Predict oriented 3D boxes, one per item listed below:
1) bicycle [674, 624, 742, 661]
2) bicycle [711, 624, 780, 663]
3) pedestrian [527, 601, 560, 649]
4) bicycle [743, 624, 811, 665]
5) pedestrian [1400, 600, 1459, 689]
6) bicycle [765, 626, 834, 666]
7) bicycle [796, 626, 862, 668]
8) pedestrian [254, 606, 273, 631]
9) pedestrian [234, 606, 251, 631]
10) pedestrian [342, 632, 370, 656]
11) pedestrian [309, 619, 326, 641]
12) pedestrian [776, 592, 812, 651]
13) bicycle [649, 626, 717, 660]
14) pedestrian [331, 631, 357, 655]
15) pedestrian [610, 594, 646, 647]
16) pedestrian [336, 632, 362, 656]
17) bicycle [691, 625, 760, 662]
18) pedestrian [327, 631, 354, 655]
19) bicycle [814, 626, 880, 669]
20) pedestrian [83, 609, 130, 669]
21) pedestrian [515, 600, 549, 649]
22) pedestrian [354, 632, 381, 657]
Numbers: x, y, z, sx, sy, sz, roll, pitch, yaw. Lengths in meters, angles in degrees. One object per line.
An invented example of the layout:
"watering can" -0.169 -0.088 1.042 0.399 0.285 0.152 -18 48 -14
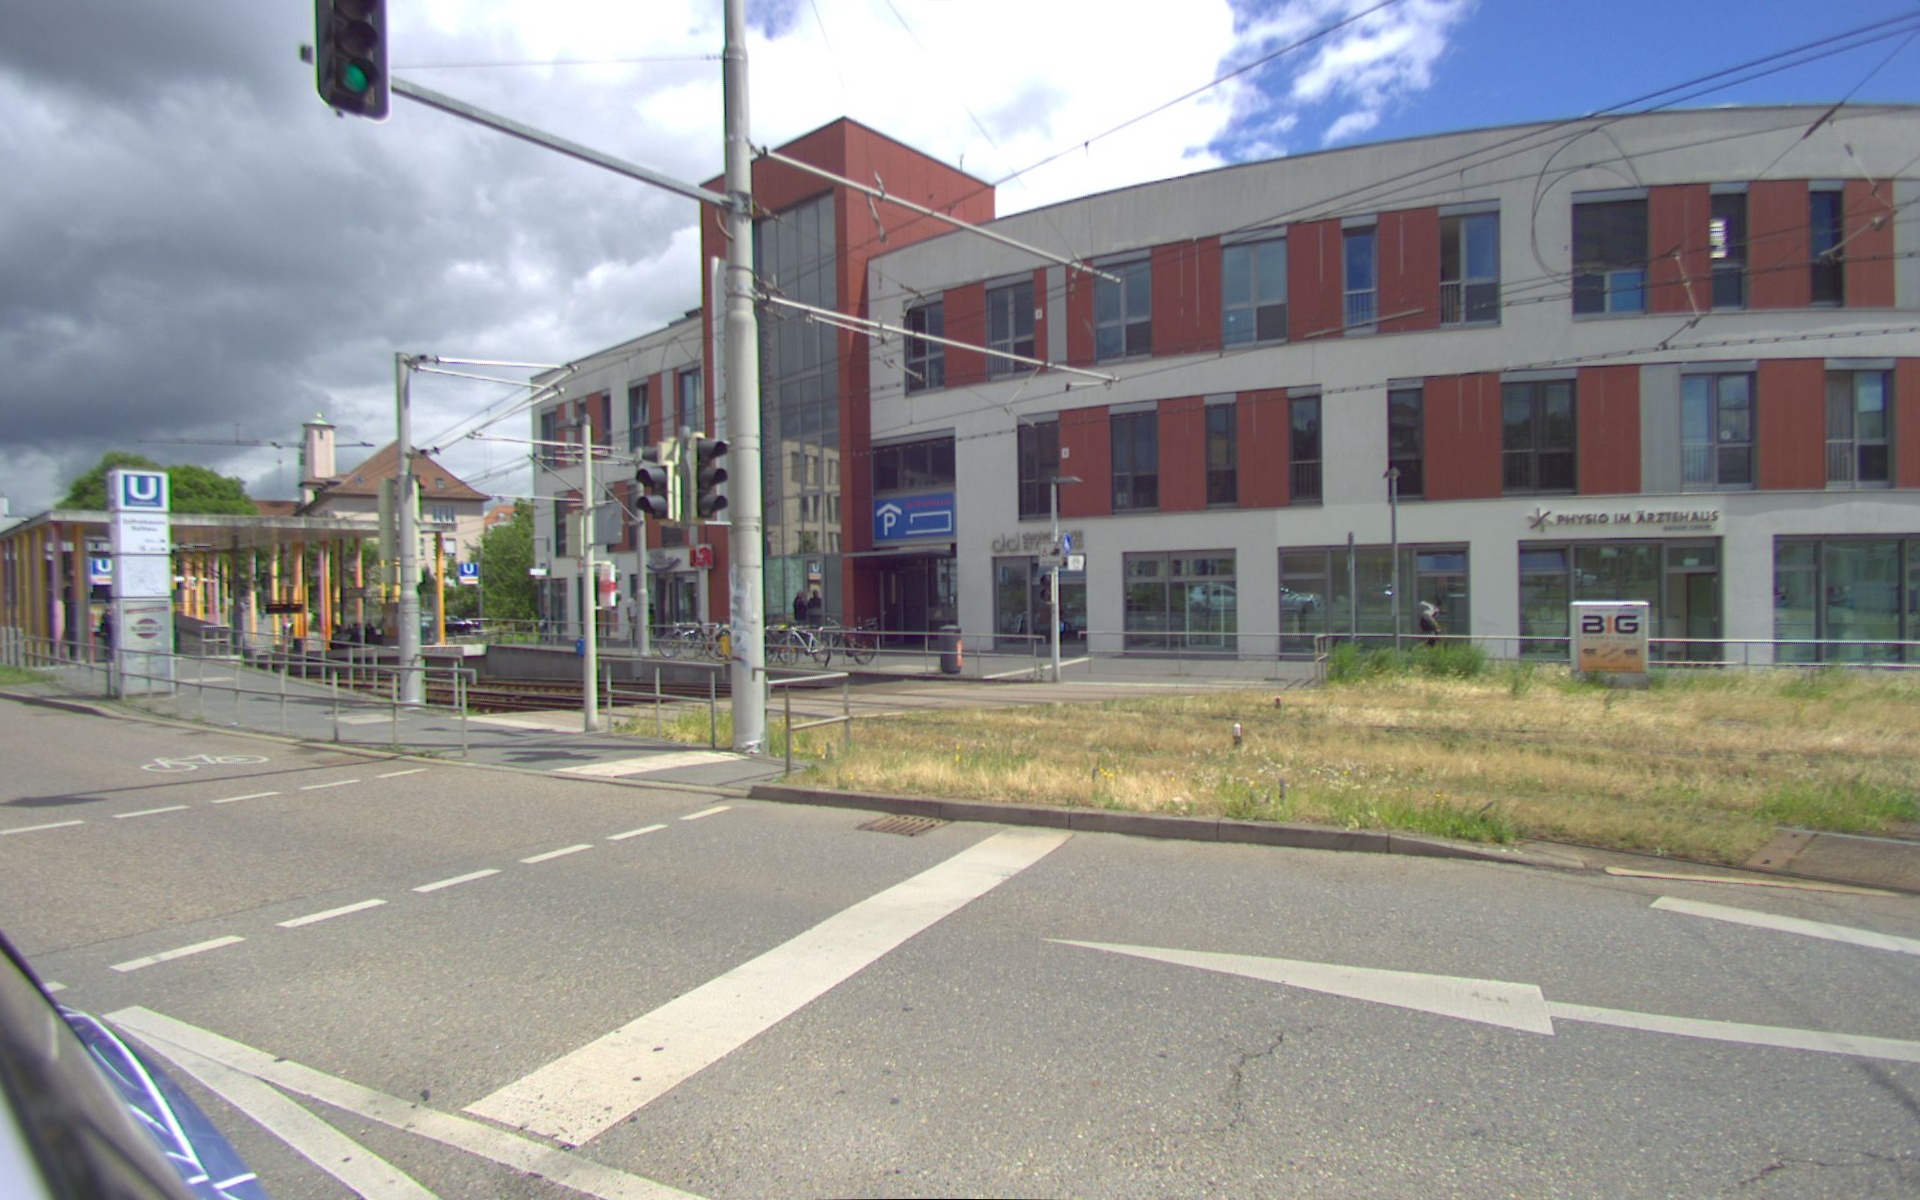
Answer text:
"bicycle" -6.988 1.165 28.138 1.835 0.939 0.455 0 0 -41
"bicycle" -5.703 1.149 26.980 1.836 0.946 0.455 0 0 -45
"pedestrian" -17.385 1.037 42.225 1.105 1.983 0.853 0 -1 39
"bicycle" -4.744 1.138 26.332 0.454 0.970 1.837 -1 0 43
"pedestrian" 10.760 1.005 23.224 1.106 1.983 0.860 0 -1 17
"bicycle" -4.061 1.148 25.696 0.454 0.942 1.837 -1 0 43
"bicycle" -3.230 1.148 25.070 0.428 0.965 1.716 -1 0 43
"pedestrian" -56.902 1.515 82.709 1.112 2.029 1.180 0 -1 -44
"pedestrian" -60.020 1.573 84.642 1.110 2.029 1.461 0 -1 -36
"pedestrian" -29.406 2.148 49.260 0.886 1.143 0.931 -2 -1 42
"pedestrian" -44.439 2.059 69.984 0.901 1.461 0.736 -2 -1 37
"pedestrian" -5.318 0.676 32.477 0.856 1.859 0.876 0 1 13
"bicycle" -7.881 1.202 28.826 1.834 0.888 0.455 0 0 -41
"pedestrian" -30.813 2.155 50.613 0.886 1.143 0.931 -2 -1 42
"pedestrian" -12.726 0.785 38.786 1.106 1.983 0.852 0 -1 43
"pedestrian" -30.123 2.151 49.895 0.886 1.143 0.931 -2 -1 42
"bicycle" -6.375 1.162 27.579 1.835 0.929 0.455 0 0 -42
"pedestrian" -31.329 2.161 51.186 0.886 1.143 0.931 -2 -1 42
"bicycle" -2.742 1.149 24.667 0.428 0.959 1.716 -1 0 43
"pedestrian" -28.275 1.275 33.530 0.864 1.929 1.090 0 -1 42
"pedestrian" -17.717 1.004 41.866 1.105 1.983 0.853 0 -1 39
"pedestrian" -28.557 2.148 48.785 0.886 1.143 0.931 -2 -1 42
